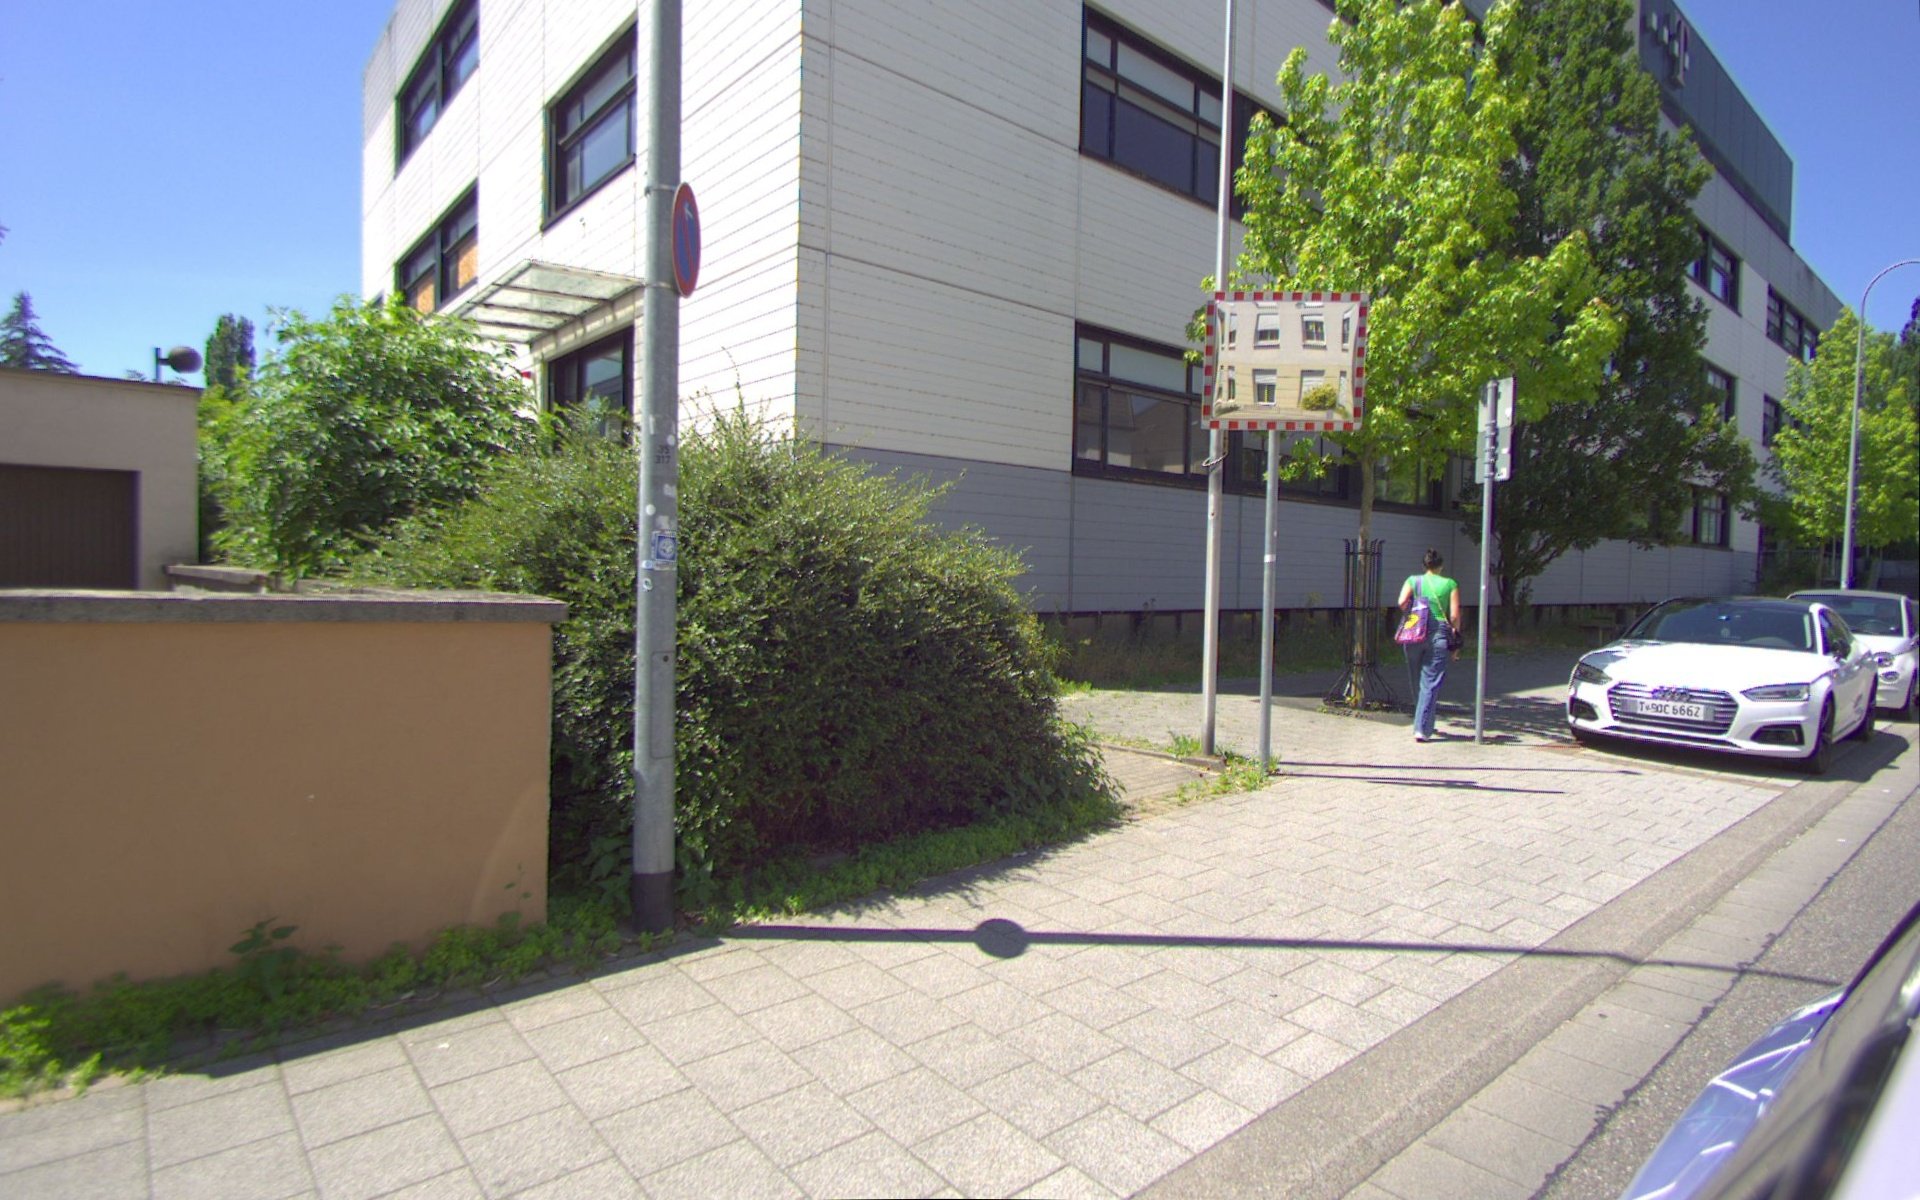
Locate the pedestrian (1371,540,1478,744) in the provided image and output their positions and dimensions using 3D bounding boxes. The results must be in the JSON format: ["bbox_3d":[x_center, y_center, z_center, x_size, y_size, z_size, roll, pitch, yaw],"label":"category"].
[{"bbox_3d":[4.259,0.335,9.251,0.676,1.720,1.038,4,3,32],"label":"pedestrian"}]

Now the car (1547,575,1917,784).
[{"bbox_3d":[7.629,0.560,9.800,4.796,1.487,1.919,0,3,-42],"label":"car"}]

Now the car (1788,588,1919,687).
[{"bbox_3d":[15.165,0.539,16.481,3.929,1.382,1.842,0,3,-40],"label":"car"}]

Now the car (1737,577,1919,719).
[{"bbox_3d":[11.586,0.513,13.045,3.809,1.516,1.714,0,3,-41],"label":"car"}]
